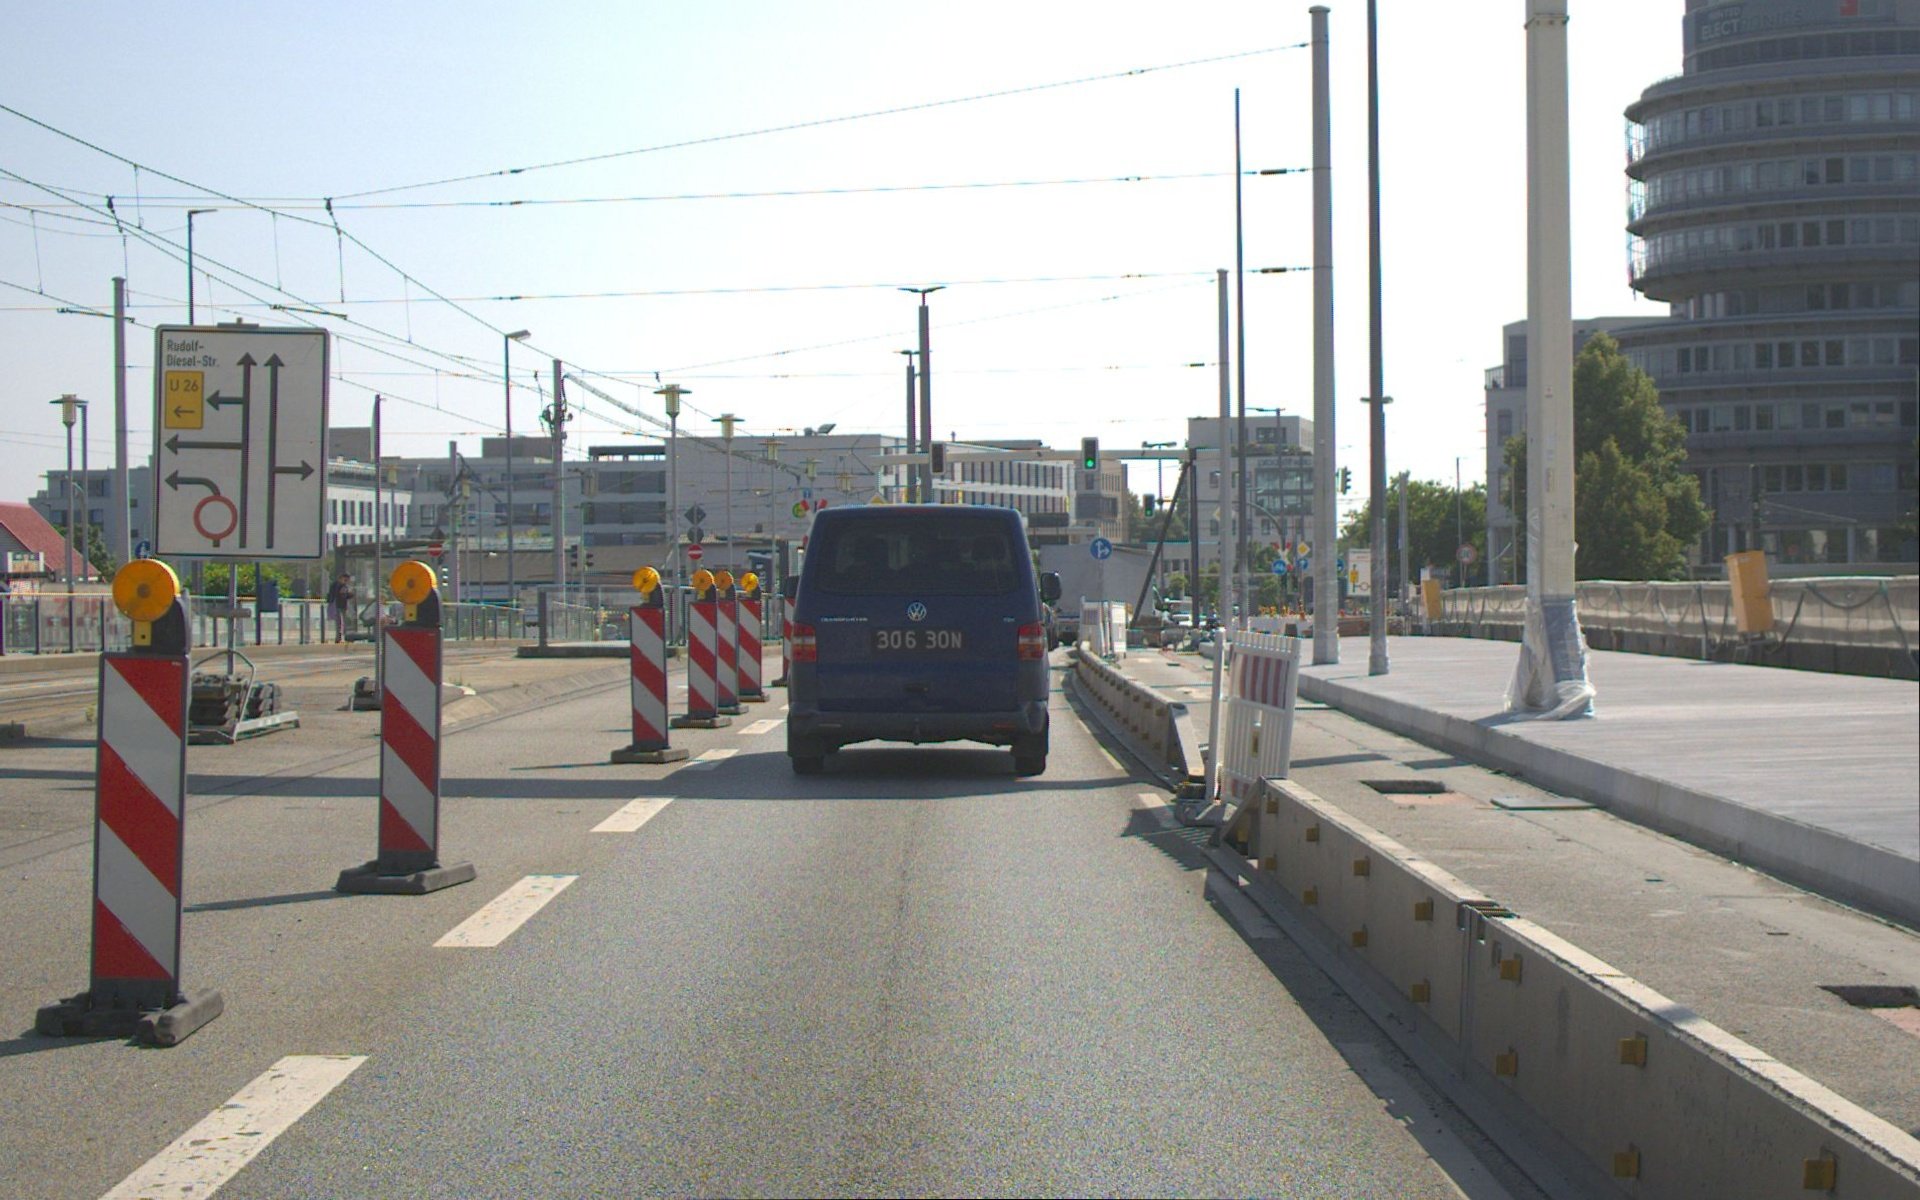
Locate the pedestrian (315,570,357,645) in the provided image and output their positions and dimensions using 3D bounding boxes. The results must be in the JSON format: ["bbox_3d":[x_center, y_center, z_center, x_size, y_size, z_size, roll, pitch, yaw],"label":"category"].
[{"bbox_3d":[-13.782,0.169,75.896,0.660,1.649,0.739,0,0,13],"label":"pedestrian"}]

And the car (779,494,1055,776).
[{"bbox_3d":[-0.344,0.217,25.880,1.888,1.927,4.000,1,1,-1],"label":"car"}]

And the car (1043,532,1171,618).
[{"bbox_3d":[5.119,-0.875,118.641,2.342,2.877,5.963,1,1,24],"label":"car"}]
